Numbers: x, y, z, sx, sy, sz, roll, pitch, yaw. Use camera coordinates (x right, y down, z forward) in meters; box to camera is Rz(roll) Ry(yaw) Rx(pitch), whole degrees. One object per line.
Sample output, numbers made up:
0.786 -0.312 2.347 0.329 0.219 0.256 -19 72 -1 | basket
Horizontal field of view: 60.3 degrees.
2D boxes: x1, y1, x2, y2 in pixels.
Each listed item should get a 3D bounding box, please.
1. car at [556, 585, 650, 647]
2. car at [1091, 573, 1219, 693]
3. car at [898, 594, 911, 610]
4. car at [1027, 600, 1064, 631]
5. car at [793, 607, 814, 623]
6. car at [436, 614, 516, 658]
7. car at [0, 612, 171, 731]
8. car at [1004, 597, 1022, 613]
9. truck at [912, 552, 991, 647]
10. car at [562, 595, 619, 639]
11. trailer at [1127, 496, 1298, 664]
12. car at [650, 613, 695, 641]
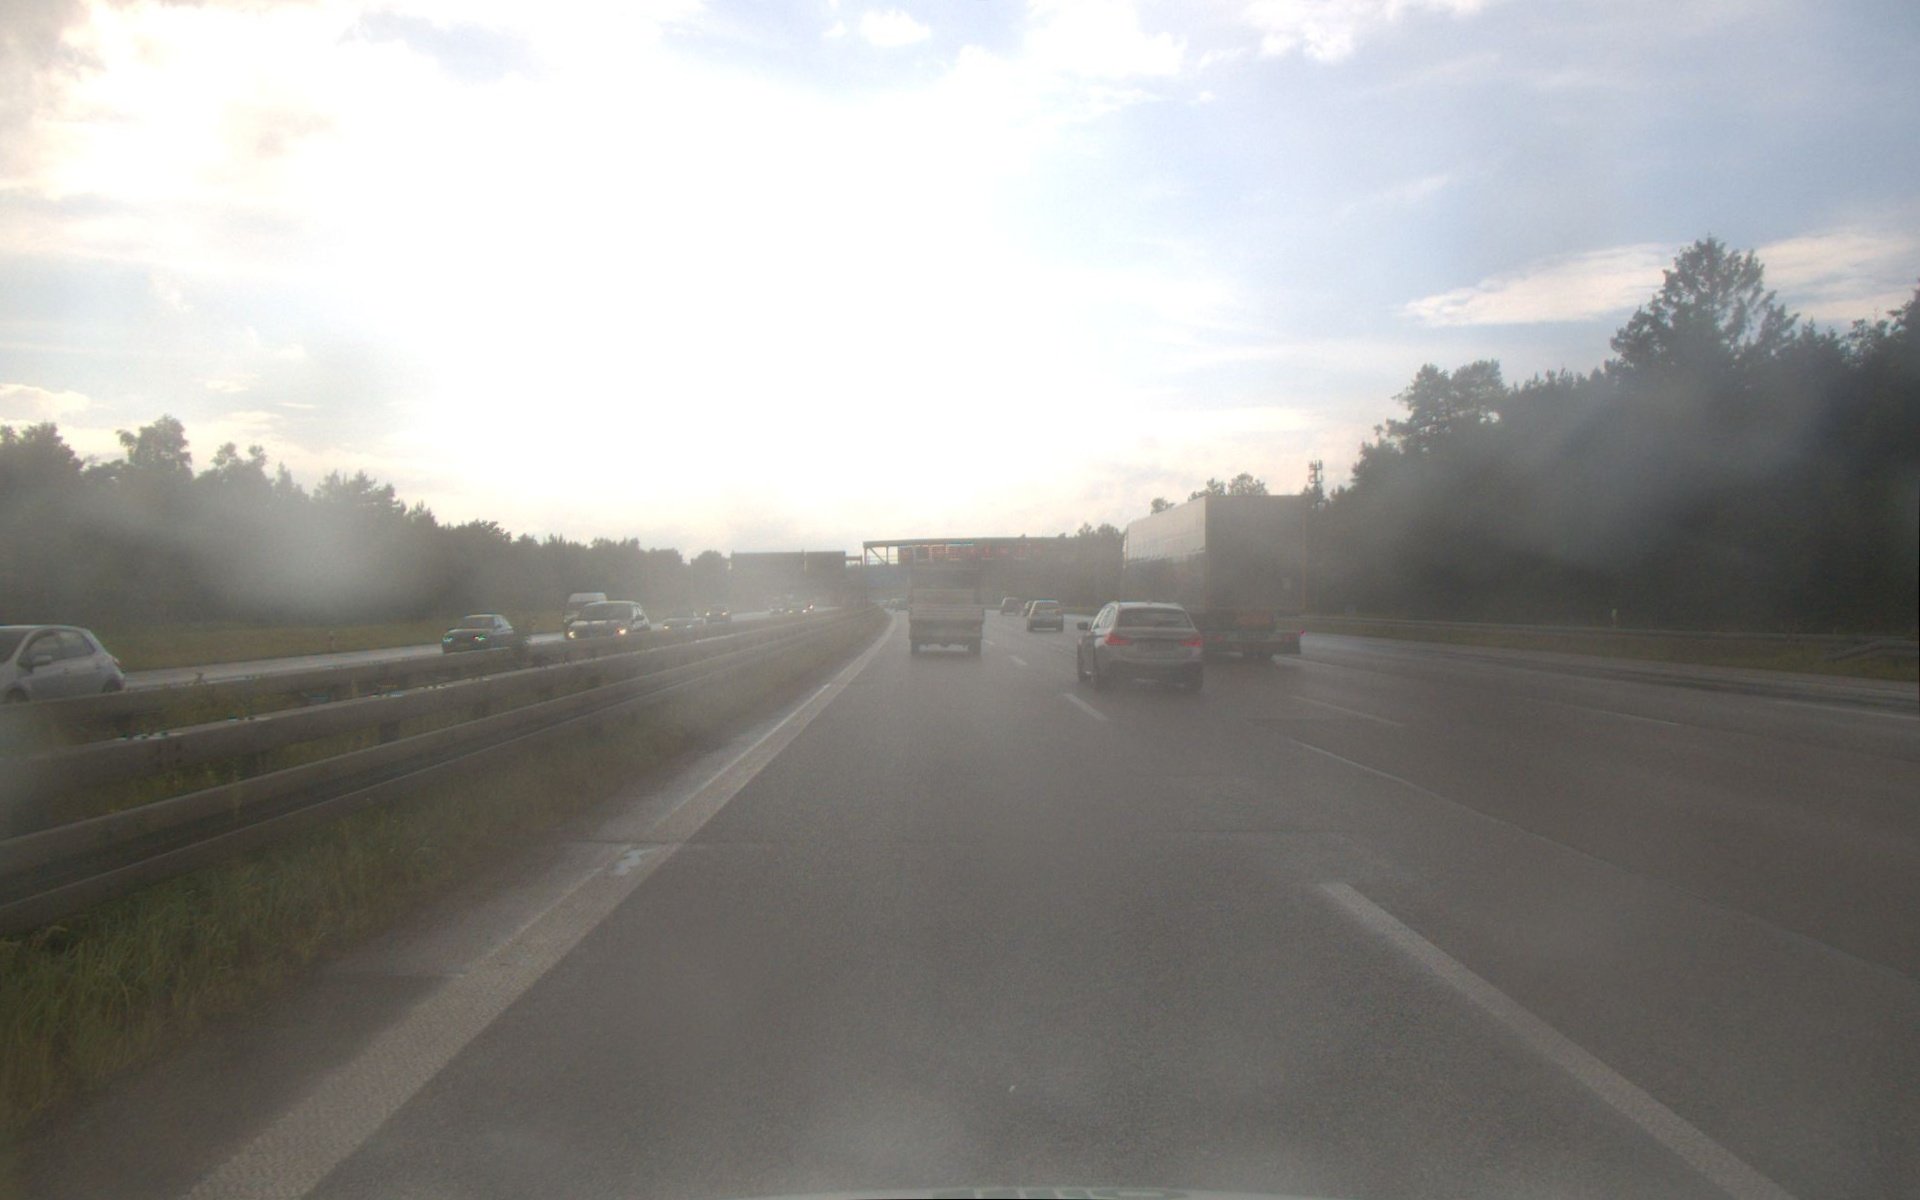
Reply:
-9.651 0.401 44.999 1.734 1.566 3.999 -1 0 -1 | car
3.342 0.517 29.212 2.034 1.918 5.014 0 0 4 | car
-7.210 0.240 213.452 1.585 2.049 3.998 1 0 -3 | car
4.238 0.733 82.521 1.793 1.492 4.001 0 0 2 | car
-15.161 1.470 159.956 1.837 1.456 3.997 -1 0 -3 | car
-17.854 1.297 61.185 1.664 1.382 4.256 -5 0 -1 | car
-13.212 0.979 23.978 1.664 1.514 3.999 -1 0 -1 | car
5.696 0.563 178.287 1.706 1.718 3.998 0 0 -3 | car
-0.235 -0.019 46.684 2.093 2.532 5.312 0 0 0 | truck
-22.778 1.001 102.142 2.056 2.554 6.582 -2 0 -1 | car
6.813 -0.485 46.922 2.277 4.071 13.405 0 0 -2 | trailer
-15.327 1.442 88.460 1.663 1.348 4.666 -2 0 -1 | car
